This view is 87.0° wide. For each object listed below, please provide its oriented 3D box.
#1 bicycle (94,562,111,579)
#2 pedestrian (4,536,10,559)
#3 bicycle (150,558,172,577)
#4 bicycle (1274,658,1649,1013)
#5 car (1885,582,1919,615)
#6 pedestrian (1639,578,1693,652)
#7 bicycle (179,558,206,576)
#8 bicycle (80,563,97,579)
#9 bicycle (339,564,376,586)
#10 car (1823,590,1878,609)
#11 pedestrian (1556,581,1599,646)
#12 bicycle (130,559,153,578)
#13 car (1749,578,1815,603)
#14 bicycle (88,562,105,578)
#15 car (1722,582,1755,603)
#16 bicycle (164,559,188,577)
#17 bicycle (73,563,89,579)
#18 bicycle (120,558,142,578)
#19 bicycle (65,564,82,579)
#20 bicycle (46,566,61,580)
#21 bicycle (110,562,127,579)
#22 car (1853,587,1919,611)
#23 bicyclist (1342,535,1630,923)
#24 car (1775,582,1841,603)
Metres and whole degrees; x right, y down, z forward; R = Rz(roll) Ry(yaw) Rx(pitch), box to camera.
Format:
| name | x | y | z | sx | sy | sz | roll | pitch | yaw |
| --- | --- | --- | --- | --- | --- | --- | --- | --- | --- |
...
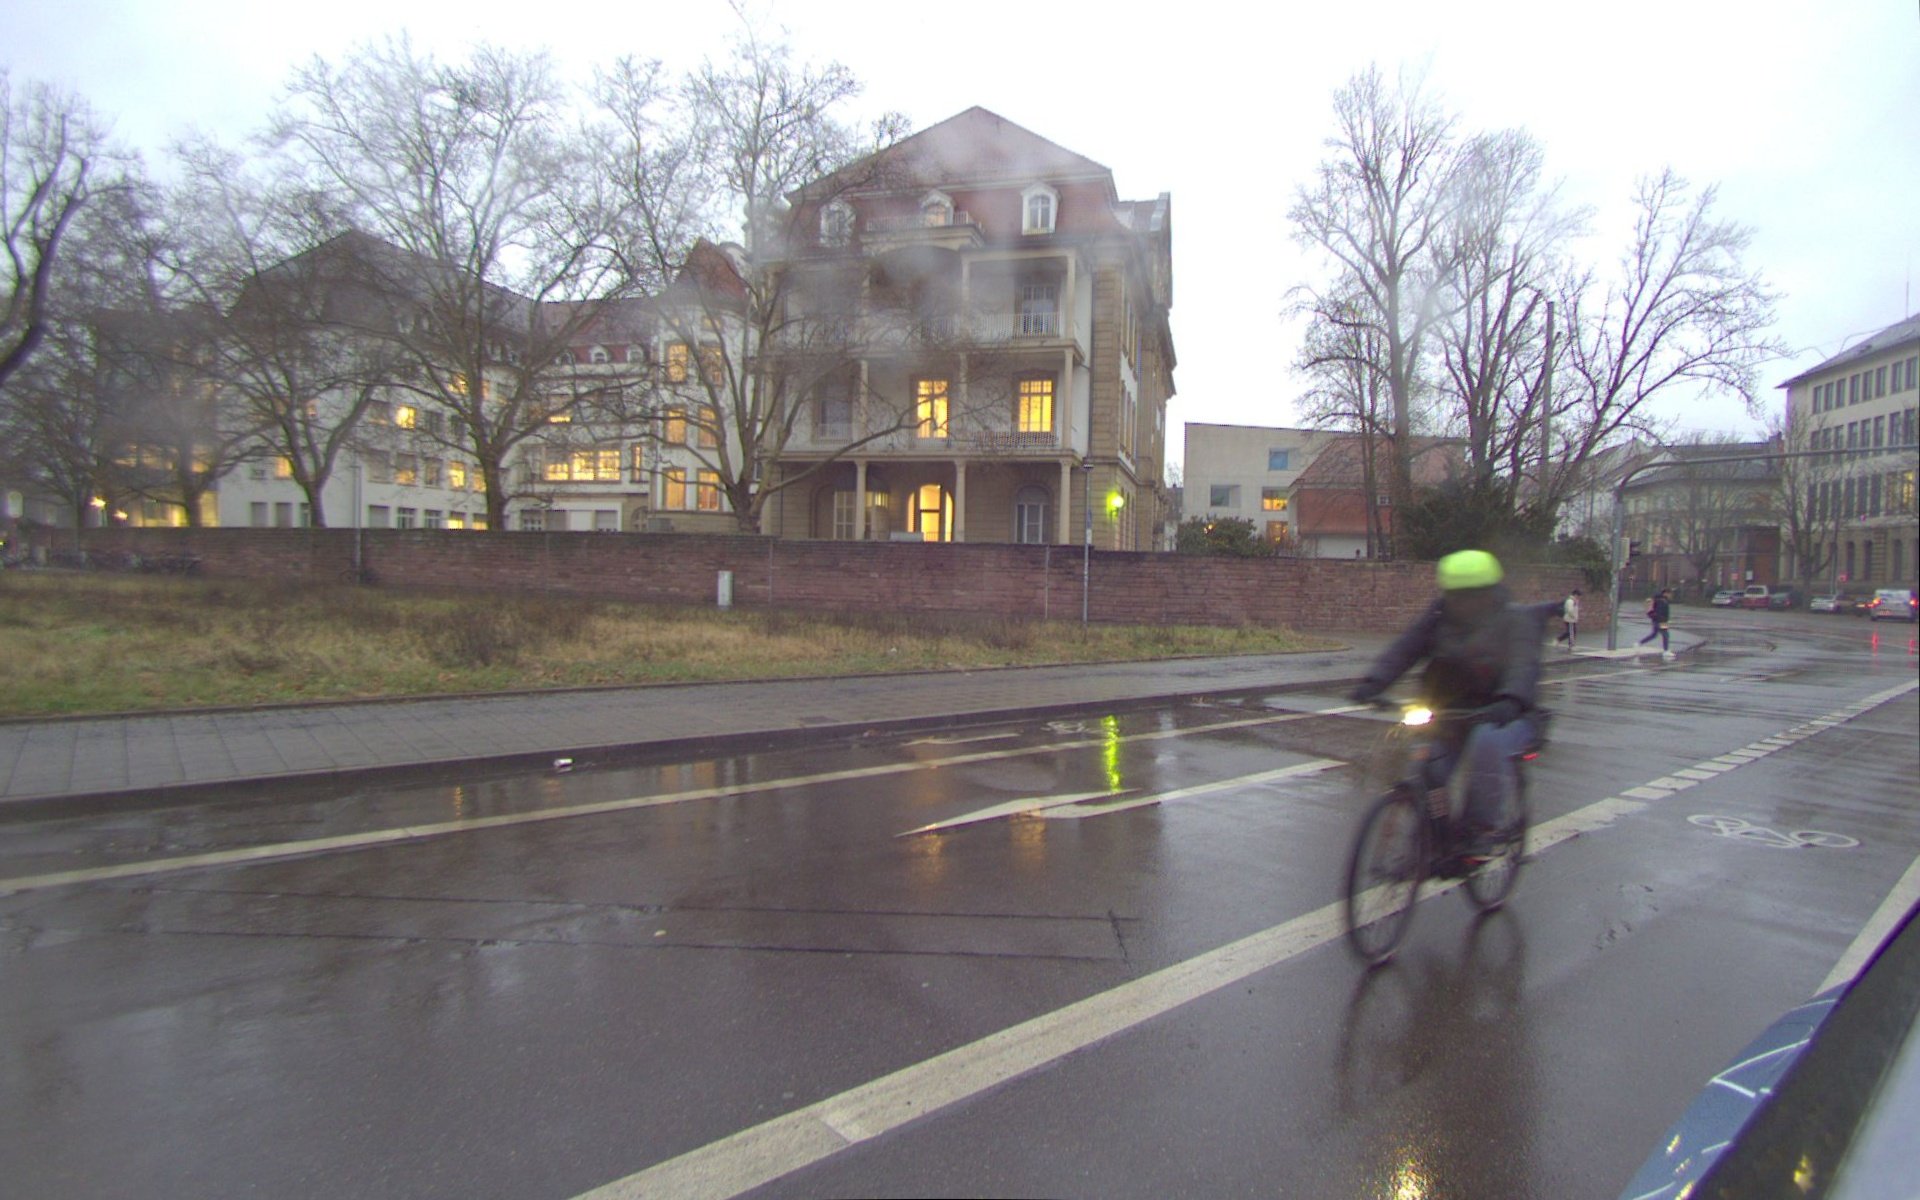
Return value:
| name | x | y | z | sx | sy | sz | roll | pitch | yaw |
| --- | --- | --- | --- | --- | --- | --- | --- | --- | --- |
| bicycle | -43.128 | -1.486 | 50.895 | 1.522 | 0.796 | 0.389 | 0 | 0 | 38 |
| pedestrian | -78.019 | -4.311 | 82.820 | 0.312 | 1.814 | 0.462 | 1 | 2 | -39 |
| bicycle | -37.028 | -1.489 | 46.883 | 1.480 | 0.849 | 0.346 | 0 | 0 | 32 |
| bicycle | 2.246 | 0.863 | 4.407 | 1.923 | 1.088 | 0.784 | -1 | 0 | -41 |
| car | 56.769 | -0.109 | 60.692 | 1.877 | 1.868 | 3.938 | 0 | 0 | 43 |
| pedestrian | 19.172 | 0.388 | 27.497 | 0.662 | 1.924 | 0.998 | 0 | 3 | -41 |
| bicycle | -34.207 | -1.460 | 45.108 | 1.399 | 0.796 | 0.355 | 0 | 0 | 26 |
| bicycle | -45.439 | -1.523 | 52.739 | 1.522 | 0.796 | 0.389 | 0 | 0 | 38 |
| bicycle | -23.382 | -0.981 | 39.269 | 1.366 | 0.835 | 0.392 | 0 | 0 | 14 |
| car | 63.605 | -0.075 | 72.299 | 3.568 | 1.322 | 1.712 | -1 | 0 | -25 |
| pedestrian | 17.041 | 0.357 | 27.940 | 0.663 | 1.744 | 0.797 | 0 | 3 | -44 |
| bicycle | -38.624 | -1.499 | 47.766 | 1.519 | 0.869 | 0.389 | 0 | 0 | 33 |
| car | 64.984 | -0.784 | 80.022 | 3.916 | 1.924 | 2.052 | 0 | 0 | -13 |
| bicycle | -44.176 | -1.520 | 51.766 | 1.522 | 0.796 | 0.389 | 0 | 0 | 38 |
| car | 66.483 | -0.636 | 86.386 | 1.992 | 1.690 | 3.940 | 0 | 0 | 42 |
| bicycle | -35.548 | -1.460 | 45.858 | 1.519 | 0.796 | 0.389 | 0 | 0 | 33 |
| bicycle | -46.670 | -1.526 | 53.717 | 1.522 | 0.796 | 0.389 | 0 | 0 | 38 |
| bicycle | -39.906 | -1.531 | 48.720 | 1.519 | 0.928 | 0.389 | 0 | 0 | 33 |
| bicycle | -47.893 | -1.528 | 54.672 | 1.522 | 0.796 | 0.389 | 0 | 0 | 38 |
| bicycle | -51.606 | -1.536 | 57.591 | 1.522 | 0.796 | 0.389 | 0 | 0 | 38 |
| bicycle | -41.471 | -1.467 | 49.874 | 1.599 | 0.796 | 0.388 | 0 | 0 | 41 |
| car | 61.966 | -0.054 | 67.004 | 3.927 | 1.570 | 1.800 | 0 | 0 | 4 |
| bicyclist | 2.352 | 0.483 | 4.507 | 1.114 | 1.471 | 0.784 | 0 | 0 | -41 |
| car | 64.702 | -0.578 | 77.224 | 3.916 | 1.570 | 1.805 | 0 | 0 | -13 |
